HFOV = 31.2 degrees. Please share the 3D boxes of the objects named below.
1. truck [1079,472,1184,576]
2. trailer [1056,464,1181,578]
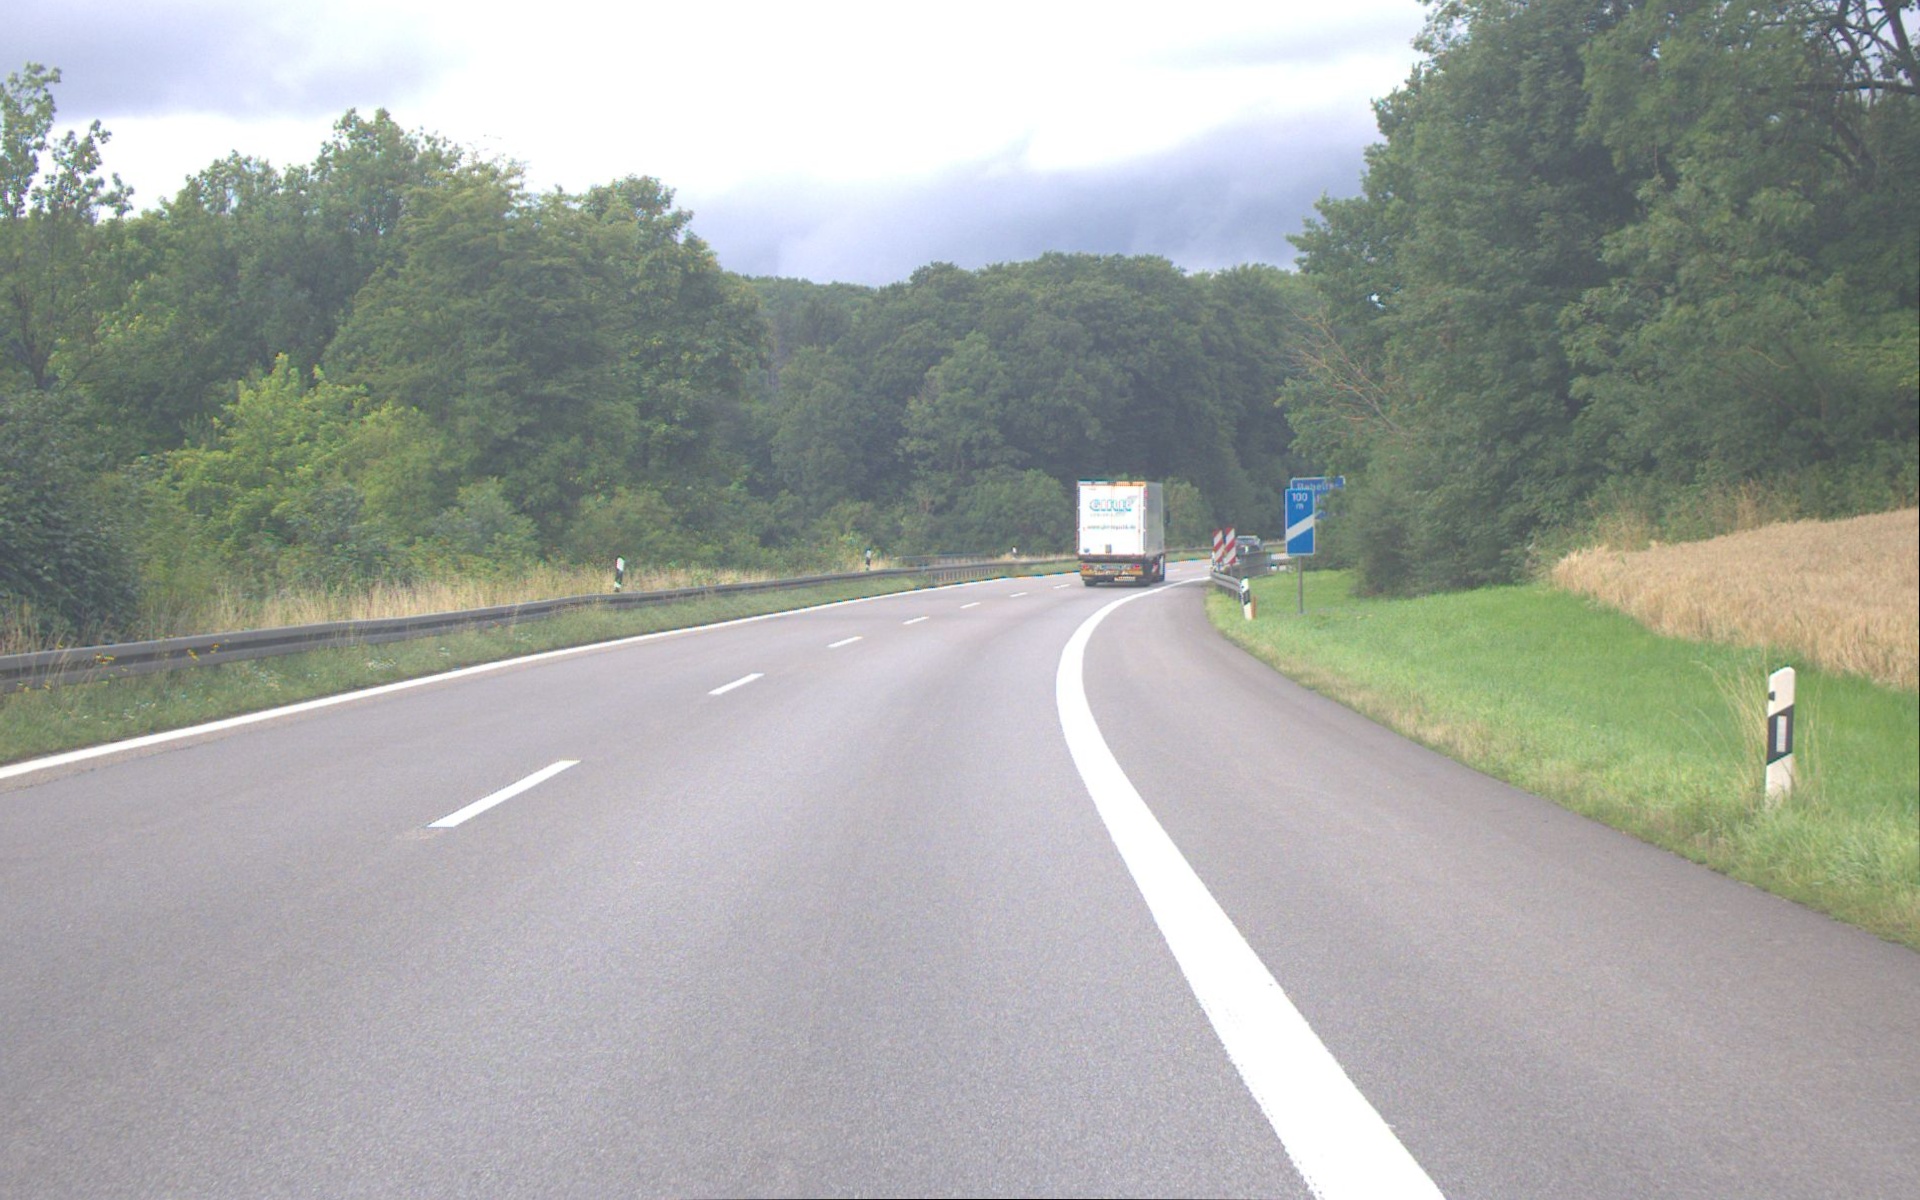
[{"bbox_3d":[7.080,-3.063,140.788,3.788,4.118,8.263,0,1,7],"label":"truck"},{"bbox_3d":[6.304,-3.013,134.095,3.806,4.160,14.804,-1,1,7],"label":"trailer"}]
